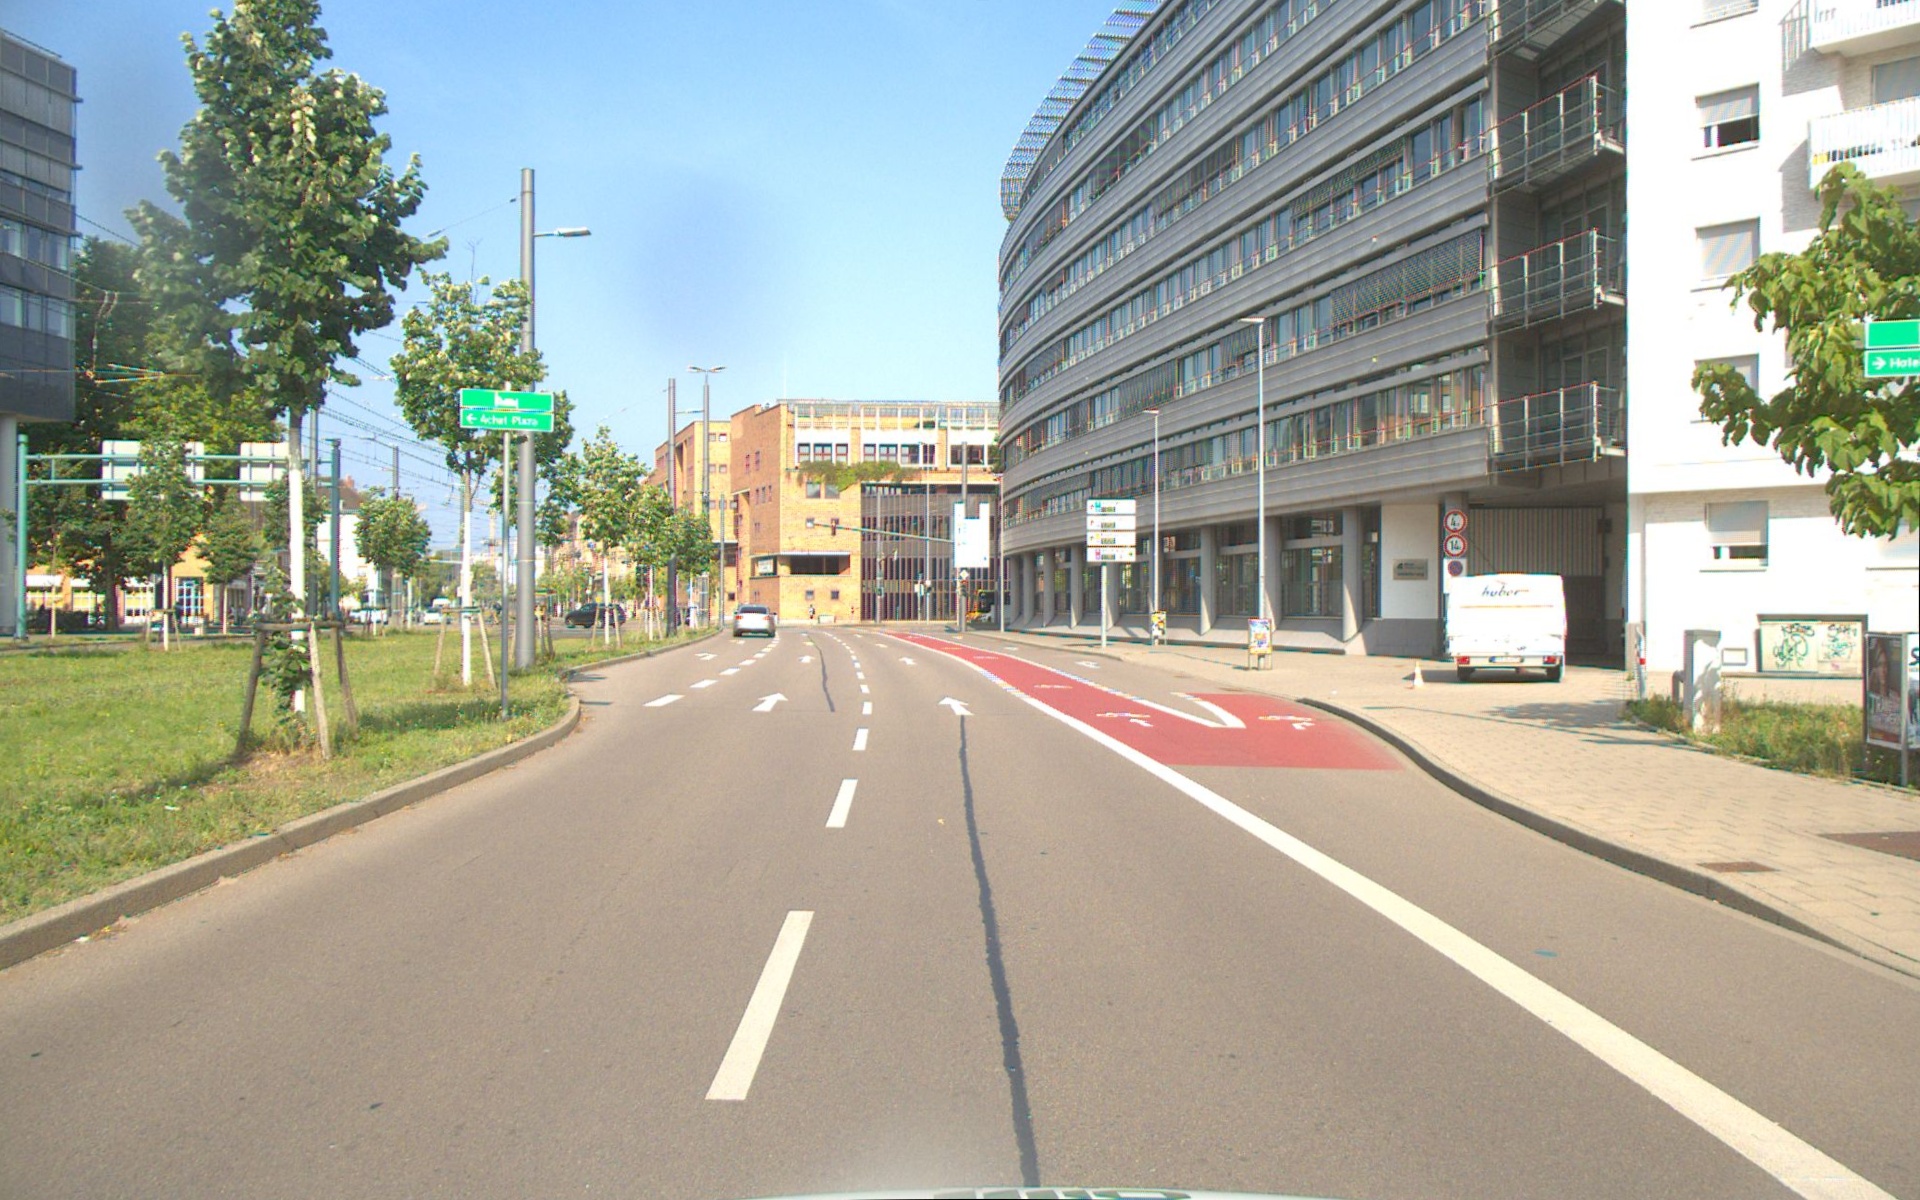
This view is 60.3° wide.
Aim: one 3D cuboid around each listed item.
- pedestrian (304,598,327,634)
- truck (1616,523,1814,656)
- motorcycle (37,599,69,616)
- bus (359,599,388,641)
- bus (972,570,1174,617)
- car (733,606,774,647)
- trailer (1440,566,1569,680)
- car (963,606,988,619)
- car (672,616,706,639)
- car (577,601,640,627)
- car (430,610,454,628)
[{"bbox_3d":[-36.500,0.916,93.633,1.137,2.049,0.772,0,-2,-18],"label":"pedestrian"},{"bbox_3d":[20.200,-0.312,44.128,6.085,3.151,1.974,-4,1,-36],"label":"truck"},{"bbox_3d":[-54.411,0.460,99.184,1.661,1.012,0.283,0,1,-15],"label":"motorcycle"},{"bbox_3d":[-60.132,2.114,169.649,2.705,3.990,12.146,0,-2,-19],"label":"bus"},{"bbox_3d":[9.793,-0.544,143.412,17.276,3.877,2.860,0,-2,-8],"label":"bus"},{"bbox_3d":[-9.421,1.236,75.686,1.671,1.786,3.886,0,-2,-5],"label":"car"},{"bbox_3d":[11.520,0.445,34.740,2.339,2.189,5.950,0,0,20],"label":"trailer"},{"bbox_3d":[1.291,1.032,138.495,1.914,0.975,1.092,2,-3,-7],"label":"car"},{"bbox_3d":[-24.155,2.455,147.255,1.969,2.049,3.966,1,-2,-26],"label":"car"},{"bbox_3d":[-24.278,0.998,114.303,1.960,1.708,3.985,-2,-2,36],"label":"car"},{"bbox_3d":[-46.206,1.712,147.512,1.699,1.569,3.437,0,-2,-12],"label":"car"}]
